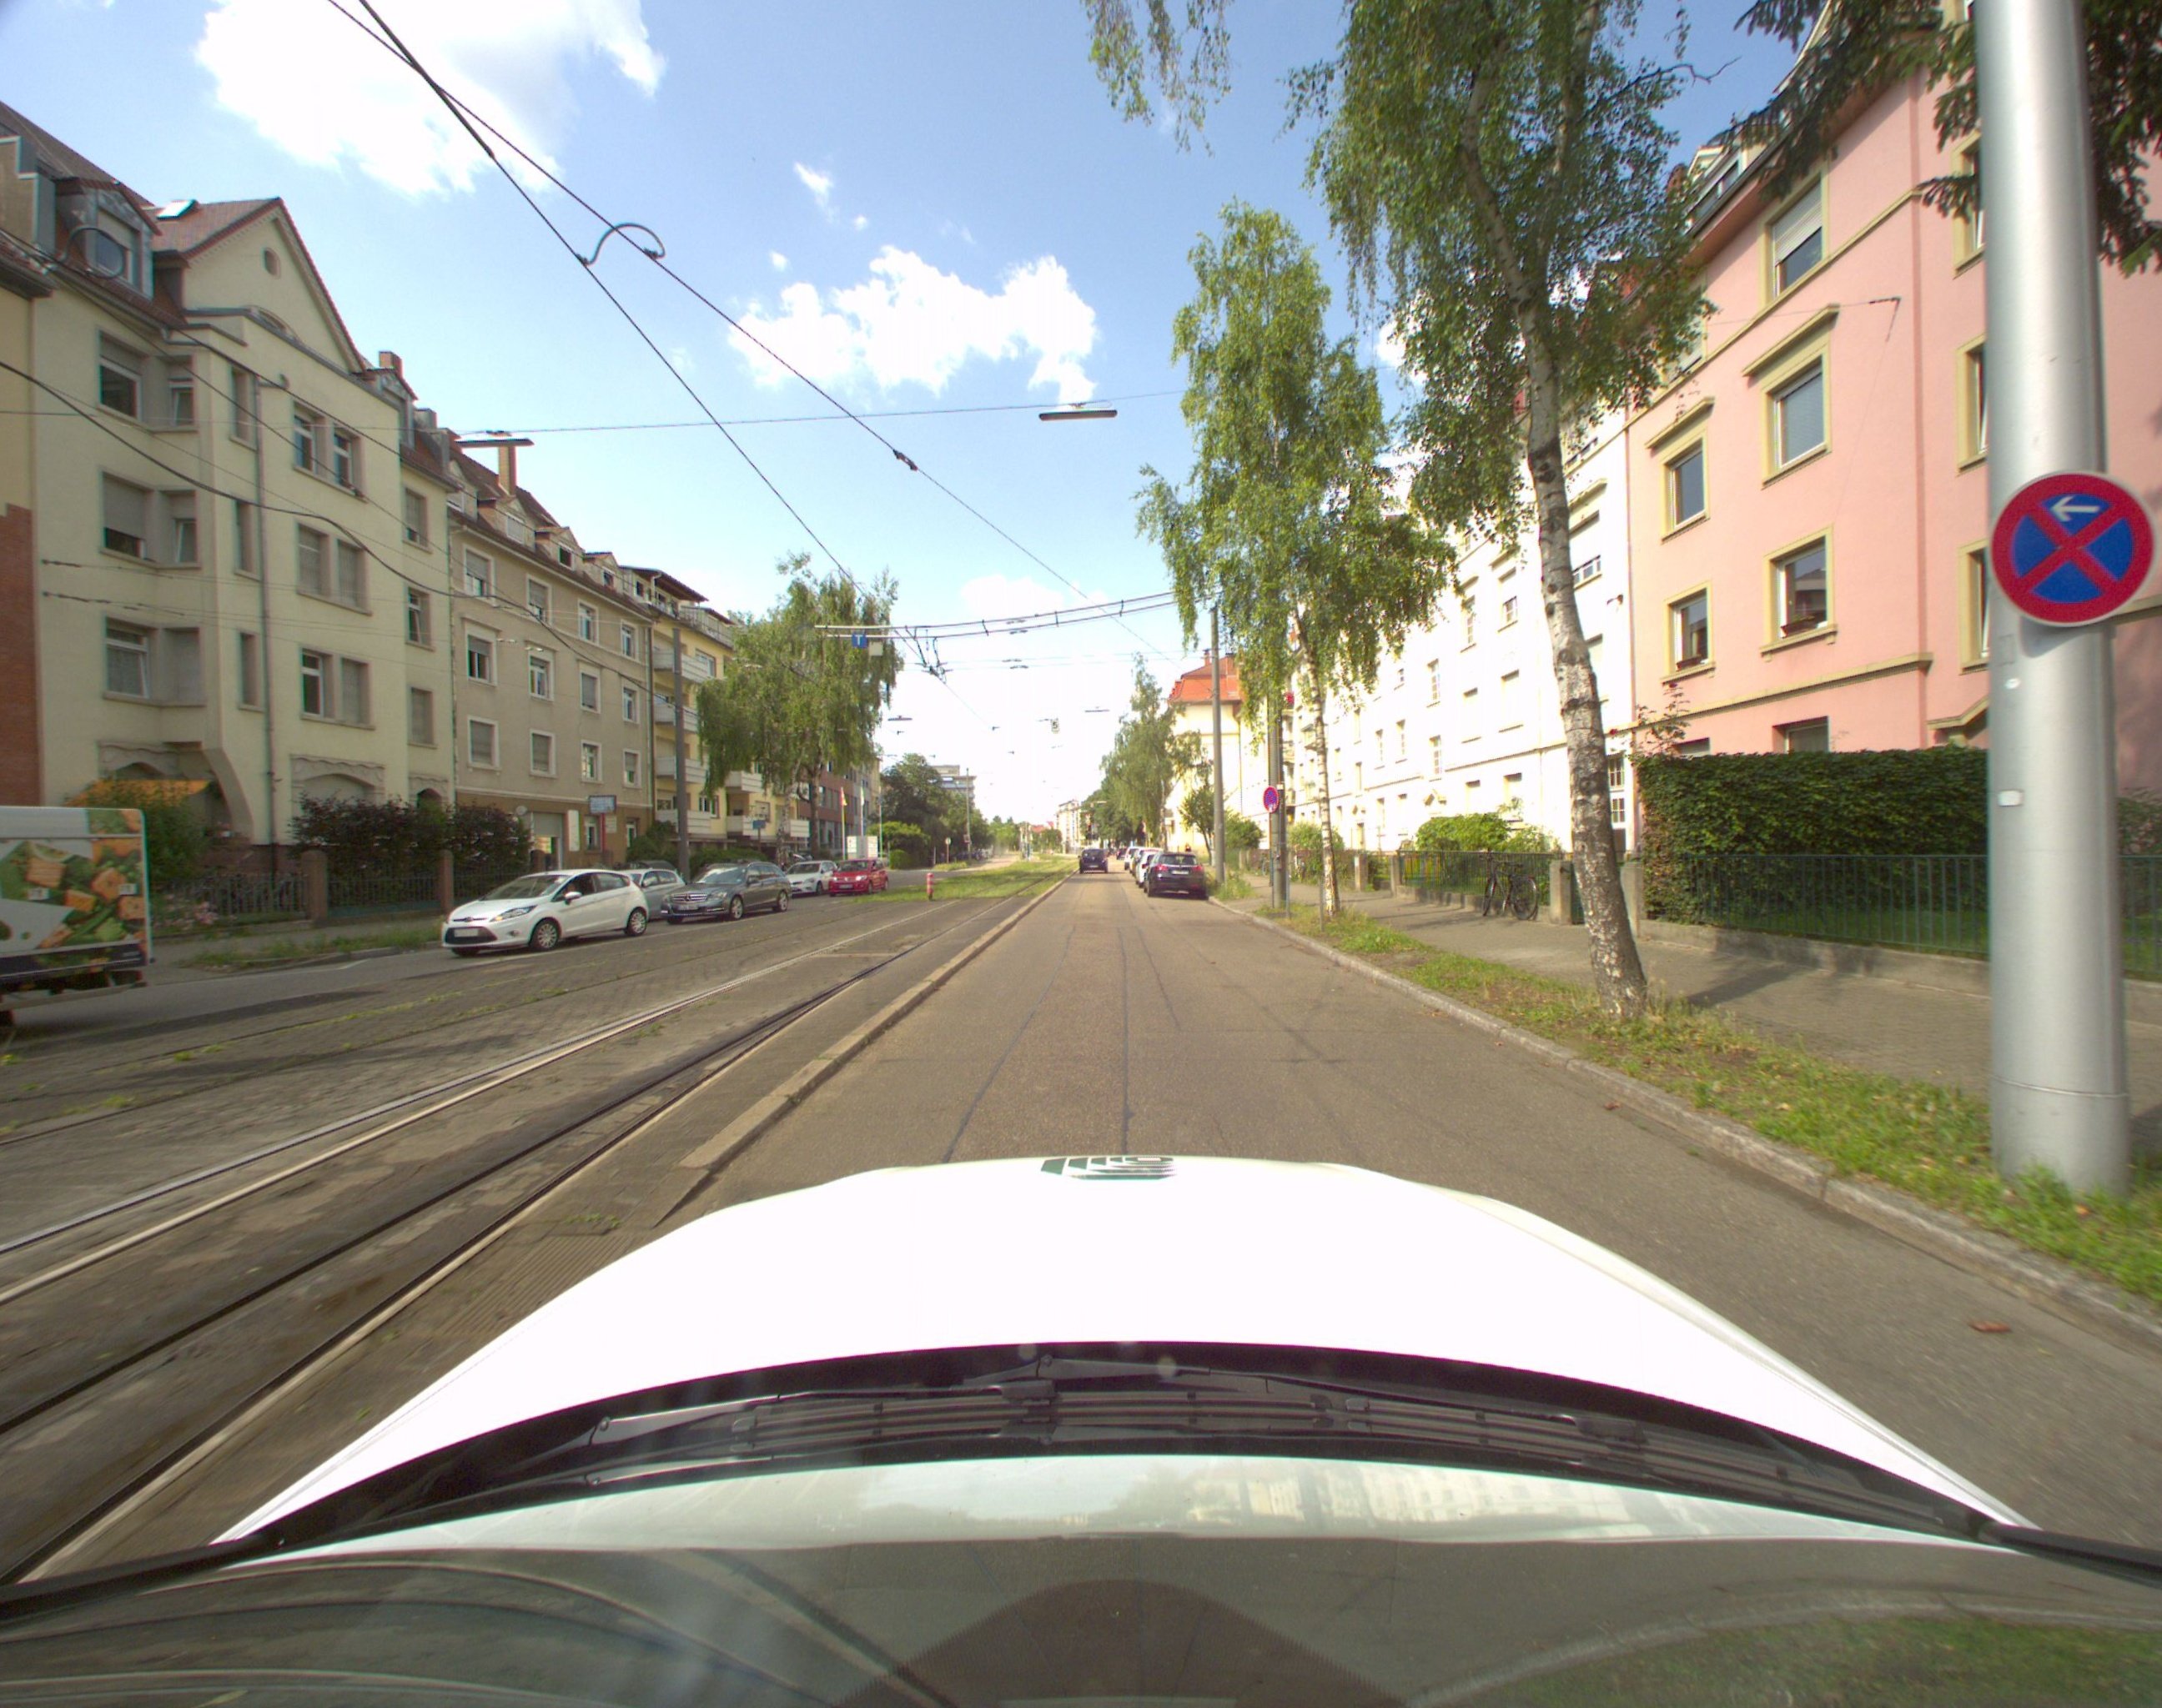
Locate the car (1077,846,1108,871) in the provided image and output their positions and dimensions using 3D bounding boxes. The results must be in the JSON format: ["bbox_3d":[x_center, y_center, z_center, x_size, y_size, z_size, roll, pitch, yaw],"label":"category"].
[{"bbox_3d":[0.738,0.265,49.286,1.760,1.462,3.779,0,1,3],"label":"car"}]

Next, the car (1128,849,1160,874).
[{"bbox_3d":[3.740,0.399,48.871,1.667,1.417,3.796,1,0,1],"label":"car"}]

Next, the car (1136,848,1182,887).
[{"bbox_3d":[3.144,0.511,33.506,1.613,1.452,3.920,-1,0,2],"label":"car"}]

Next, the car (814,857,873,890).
[{"bbox_3d":[-11.590,0.929,39.984,1.587,1.432,3.617,-2,0,3],"label":"car"}]

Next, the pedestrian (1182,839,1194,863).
[{"bbox_3d":[7.591,-0.229,57.874,0.726,1.683,0.692,-3,0,5],"label":"pedestrian"}]

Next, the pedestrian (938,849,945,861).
[{"bbox_3d":[-18.218,0.102,106.424,0.742,1.574,0.890,-2,-1,4],"label":"pedestrian"}]

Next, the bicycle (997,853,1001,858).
[{"bbox_3d":[-18.294,0.328,181.123,0.678,0.971,2.178,-2,0,0],"label":"bicycle"}]

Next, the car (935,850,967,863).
[{"bbox_3d":[-18.202,0.371,113.740,4.156,1.640,1.704,-2,1,-43],"label":"car"}]

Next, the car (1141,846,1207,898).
[{"bbox_3d":[2.990,0.518,27.002,1.785,1.520,4.528,1,1,1],"label":"car"}]

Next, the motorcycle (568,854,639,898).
[{"bbox_3d":[-14.523,0.642,24.834,0.898,1.242,2.291,-1,1,-4],"label":"motorcycle"}]

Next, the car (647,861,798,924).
[{"bbox_3d":[-9.368,0.949,21.755,1.747,1.356,4.516,-3,0,4],"label":"car"}]

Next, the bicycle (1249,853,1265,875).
[{"bbox_3d":[7.843,0.414,36.283,0.386,0.938,1.586,-1,0,1],"label":"bicycle"}]

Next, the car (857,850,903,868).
[{"bbox_3d":[-19.801,0.463,80.188,3.976,1.596,1.999,-1,0,-2],"label":"car"}]

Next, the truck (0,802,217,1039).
[{"bbox_3d":[-11.362,0.686,6.103,2.174,2.214,6.624,-2,1,6],"label":"truck"}]

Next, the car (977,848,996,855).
[{"bbox_3d":[-21.494,-0.471,184.659,4.020,1.447,1.708,-2,1,-39],"label":"car"}]

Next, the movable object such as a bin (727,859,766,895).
[{"bbox_3d":[-14.014,0.962,34.165,0.947,1.430,1.522,1,1,1],"label":"movable object such as a bin"}]

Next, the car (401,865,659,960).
[{"bbox_3d":[-10.222,1.004,15.573,1.746,1.414,4.141,-3,0,6],"label":"car"}]

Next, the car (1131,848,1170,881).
[{"bbox_3d":[3.234,0.461,38.613,1.583,1.452,3.846,2,0,2],"label":"car"}]

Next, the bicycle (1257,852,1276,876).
[{"bbox_3d":[7.825,0.420,34.329,0.376,0.943,2.010,-1,1,1],"label":"bicycle"}]

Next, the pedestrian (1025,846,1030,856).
[{"bbox_3d":[-9.241,-0.507,140.839,0.601,1.766,0.640,-1,0,5],"label":"pedestrian"}]

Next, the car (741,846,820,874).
[{"bbox_3d":[-17.925,0.339,48.692,3.972,1.602,1.974,0,0,1],"label":"car"}]

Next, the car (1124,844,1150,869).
[{"bbox_3d":[3.890,0.143,56.571,1.713,1.629,4.005,1,0,5],"label":"car"}]

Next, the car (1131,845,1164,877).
[{"bbox_3d":[3.492,0.331,43.276,1.488,1.579,3.759,1,1,0],"label":"car"}]

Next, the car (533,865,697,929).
[{"bbox_3d":[-12.014,1.055,21.325,1.747,1.356,3.999,-2,0,4],"label":"car"}]

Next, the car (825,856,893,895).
[{"bbox_3d":[-8.945,0.840,33.120,1.572,1.386,3.695,-2,0,2],"label":"car"}]

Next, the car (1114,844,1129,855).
[{"bbox_3d":[5.002,-0.574,101.456,1.694,1.368,3.514,1,1,0],"label":"car"}]

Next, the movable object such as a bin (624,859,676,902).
[{"bbox_3d":[-14.642,0.883,27.708,0.947,1.367,1.522,1,1,1],"label":"movable object such as a bin"}]

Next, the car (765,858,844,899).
[{"bbox_3d":[-11.582,0.983,34.407,1.638,1.477,4.228,-2,0,3],"label":"car"}]

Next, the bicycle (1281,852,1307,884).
[{"bbox_3d":[7.691,0.474,29.523,0.469,1.077,2.185,-2,0,3],"label":"bicycle"}]

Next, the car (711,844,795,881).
[{"bbox_3d":[-18.601,0.445,46.284,3.968,2.013,1.940,0,0,5],"label":"car"}]
